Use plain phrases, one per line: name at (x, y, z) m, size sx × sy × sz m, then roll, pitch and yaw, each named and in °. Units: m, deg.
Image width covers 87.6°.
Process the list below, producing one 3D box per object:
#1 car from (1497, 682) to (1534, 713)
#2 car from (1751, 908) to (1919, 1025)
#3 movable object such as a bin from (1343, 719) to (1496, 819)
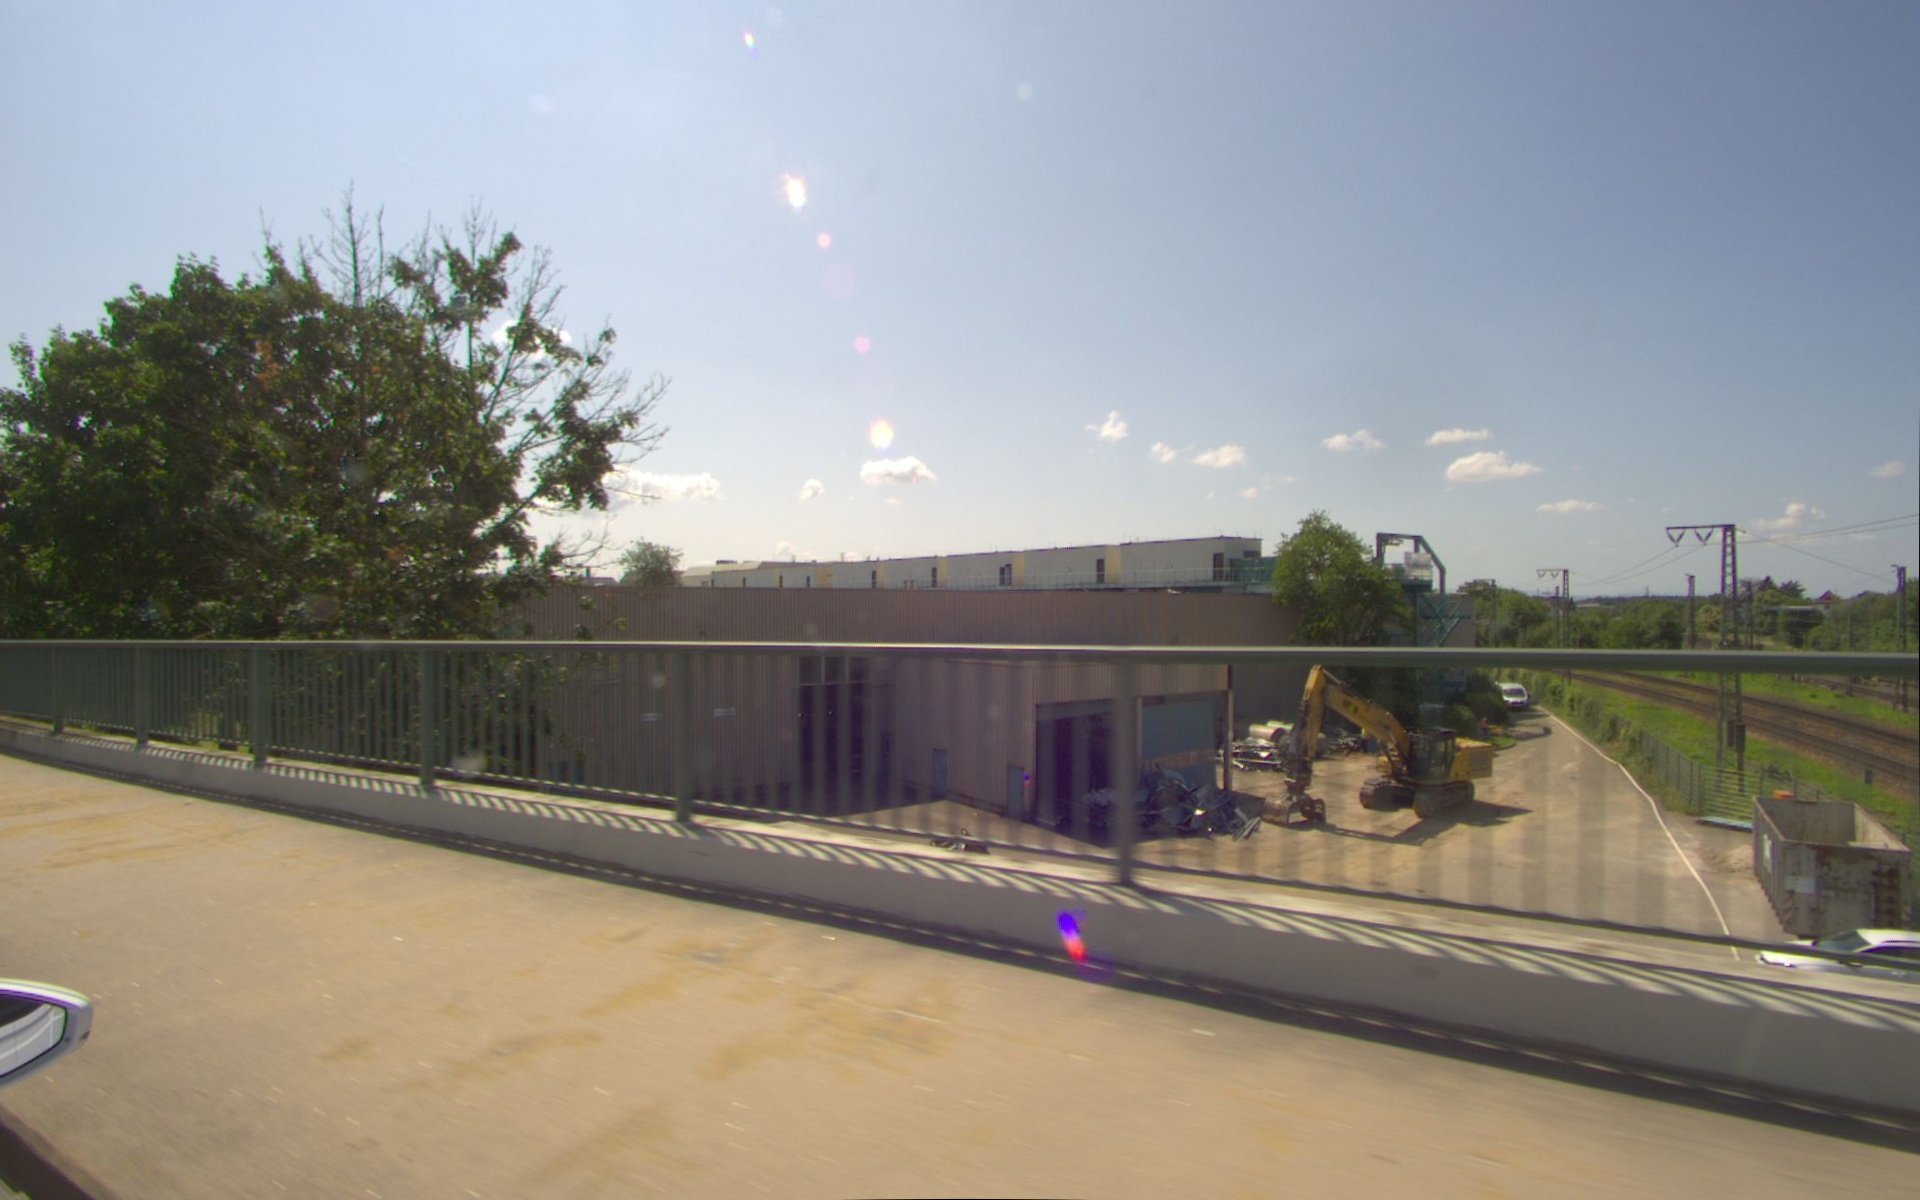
car at (44.973, 7.856, 81.125) m, size 1.965 × 2.041 × 3.990 m, roll 0°, pitch 1°, yaw 21°
car at (20.049, 8.053, 21.805) m, size 4.181 × 1.614 × 1.993 m, roll 0°, pitch -4°, yaw 31°
movable object such as a bin at (19.917, 7.146, 43.310) m, size 6.142 × 3.334 × 3.226 m, roll 1°, pitch 1°, yaw -34°
